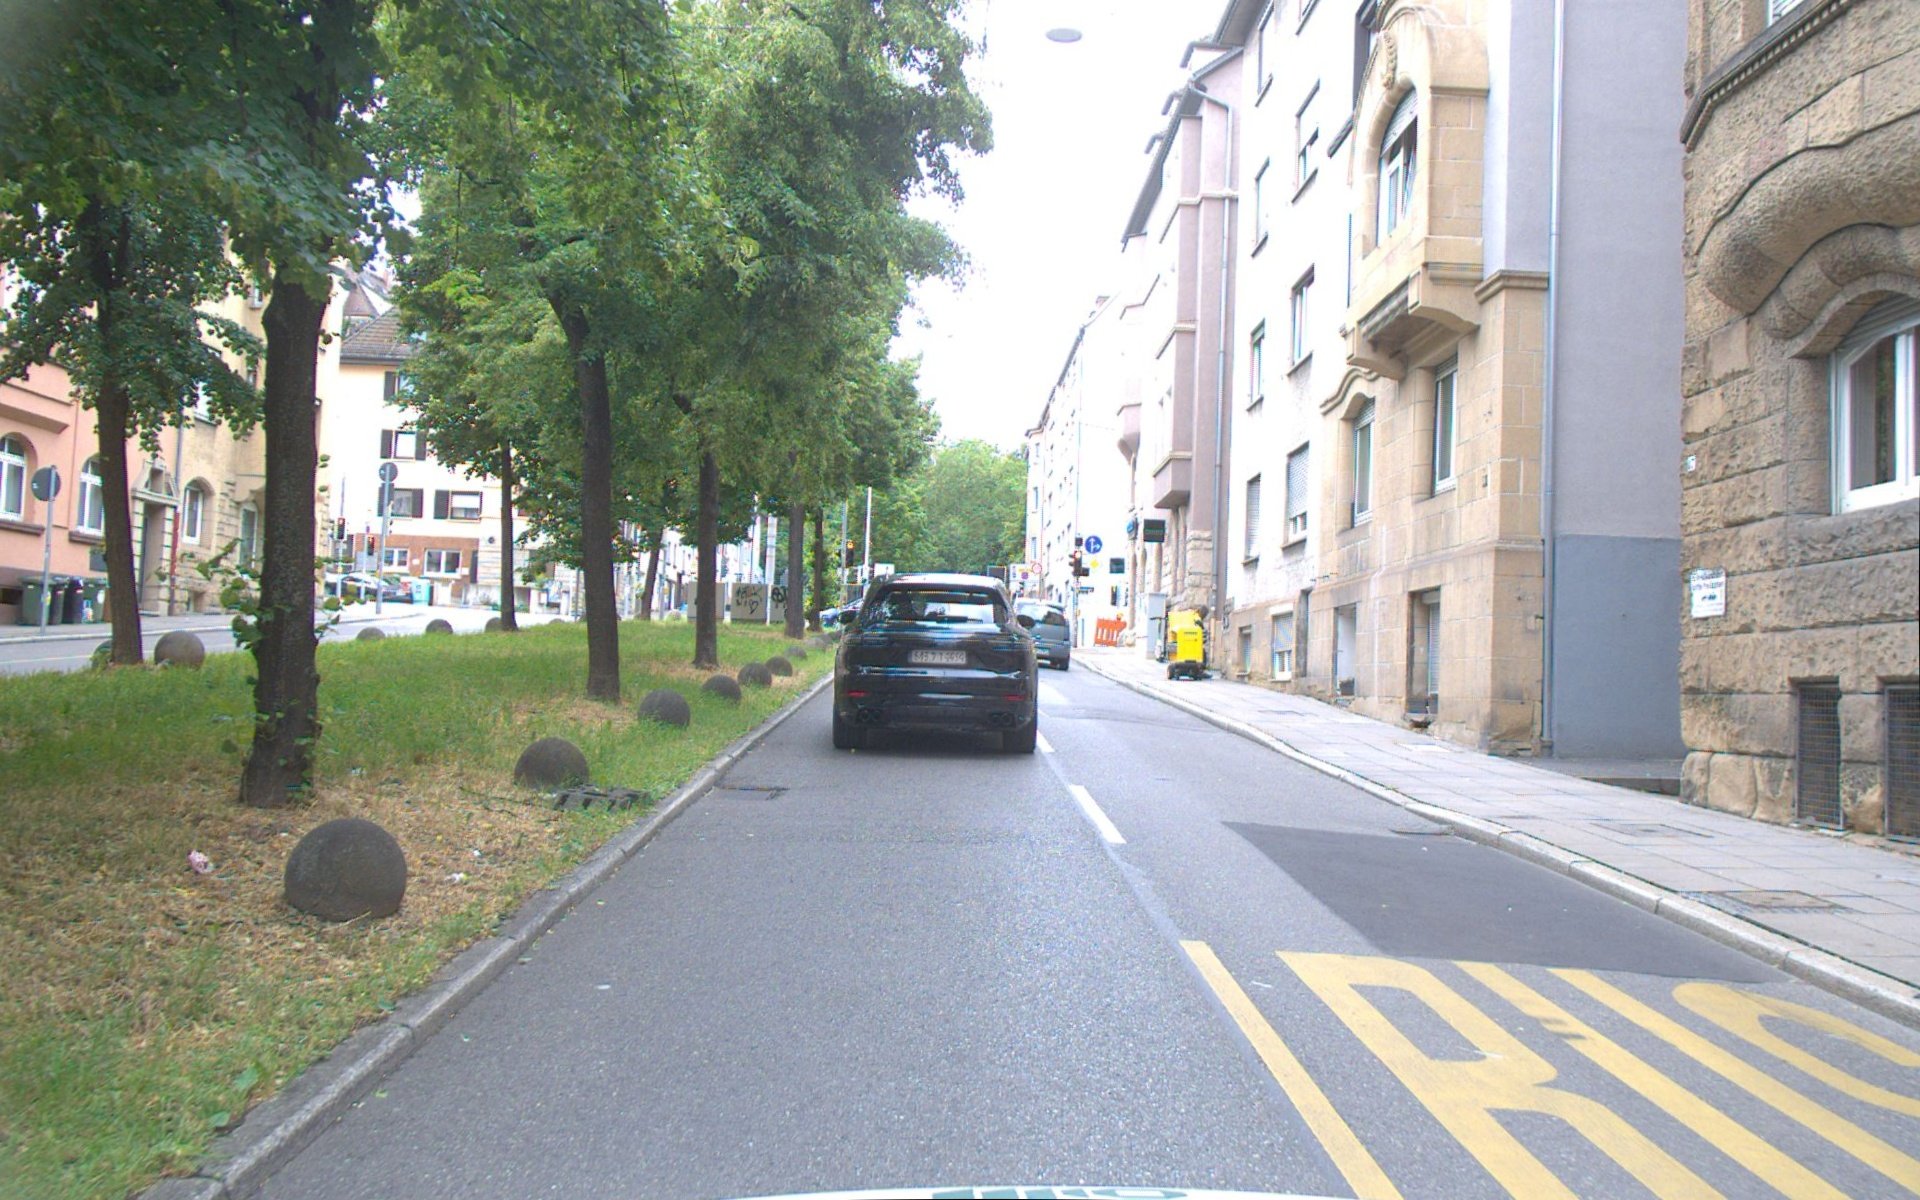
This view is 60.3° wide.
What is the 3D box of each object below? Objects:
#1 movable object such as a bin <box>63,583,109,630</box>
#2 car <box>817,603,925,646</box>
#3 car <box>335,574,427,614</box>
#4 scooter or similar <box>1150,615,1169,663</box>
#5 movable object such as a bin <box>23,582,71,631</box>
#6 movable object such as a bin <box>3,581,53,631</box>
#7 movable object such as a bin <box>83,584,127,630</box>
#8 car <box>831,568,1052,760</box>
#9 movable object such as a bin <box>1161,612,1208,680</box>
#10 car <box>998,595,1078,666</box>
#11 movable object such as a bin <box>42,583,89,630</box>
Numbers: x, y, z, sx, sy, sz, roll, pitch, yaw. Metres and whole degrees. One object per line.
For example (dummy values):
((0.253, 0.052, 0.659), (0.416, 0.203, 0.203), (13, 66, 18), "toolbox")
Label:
((-18.029, 0.138, 34.137), (0.597, 0.920, 0.601), (3, -1, -5), "movable object such as a bin")
((-3.605, 0.977, 67.475), (4.116, 1.536, 1.801), (3, 0, 6), "car")
((-26.340, -0.290, 75.218), (3.915, 1.694, 1.877), (1, -2, 33), "car")
((5.273, 1.013, 43.761), (0.392, 1.209, 1.355), (1, 1, 3), "scooter or similar")
((-17.992, 0.124, 32.605), (0.597, 0.920, 0.601), (3, -1, -5), "movable object such as a bin")
((-18.010, 0.118, 31.967), (0.597, 0.920, 0.601), (3, -1, -5), "movable object such as a bin")
((-18.004, 0.148, 34.846), (0.597, 0.920, 0.601), (3, -1, -5), "movable object such as a bin")
((-0.170, 0.565, 16.827), (1.953, 1.681, 4.000), (1, 0, 0), "car")
((4.914, 0.995, 36.242), (0.705, 1.446, 1.692), (1, -1, -3), "movable object such as a bin")
((1.880, 0.732, 40.814), (1.716, 1.621, 3.629), (1, 0, -1), "car")
((-17.994, 0.130, 33.289), (0.597, 0.920, 0.601), (3, -1, -5), "movable object such as a bin")
